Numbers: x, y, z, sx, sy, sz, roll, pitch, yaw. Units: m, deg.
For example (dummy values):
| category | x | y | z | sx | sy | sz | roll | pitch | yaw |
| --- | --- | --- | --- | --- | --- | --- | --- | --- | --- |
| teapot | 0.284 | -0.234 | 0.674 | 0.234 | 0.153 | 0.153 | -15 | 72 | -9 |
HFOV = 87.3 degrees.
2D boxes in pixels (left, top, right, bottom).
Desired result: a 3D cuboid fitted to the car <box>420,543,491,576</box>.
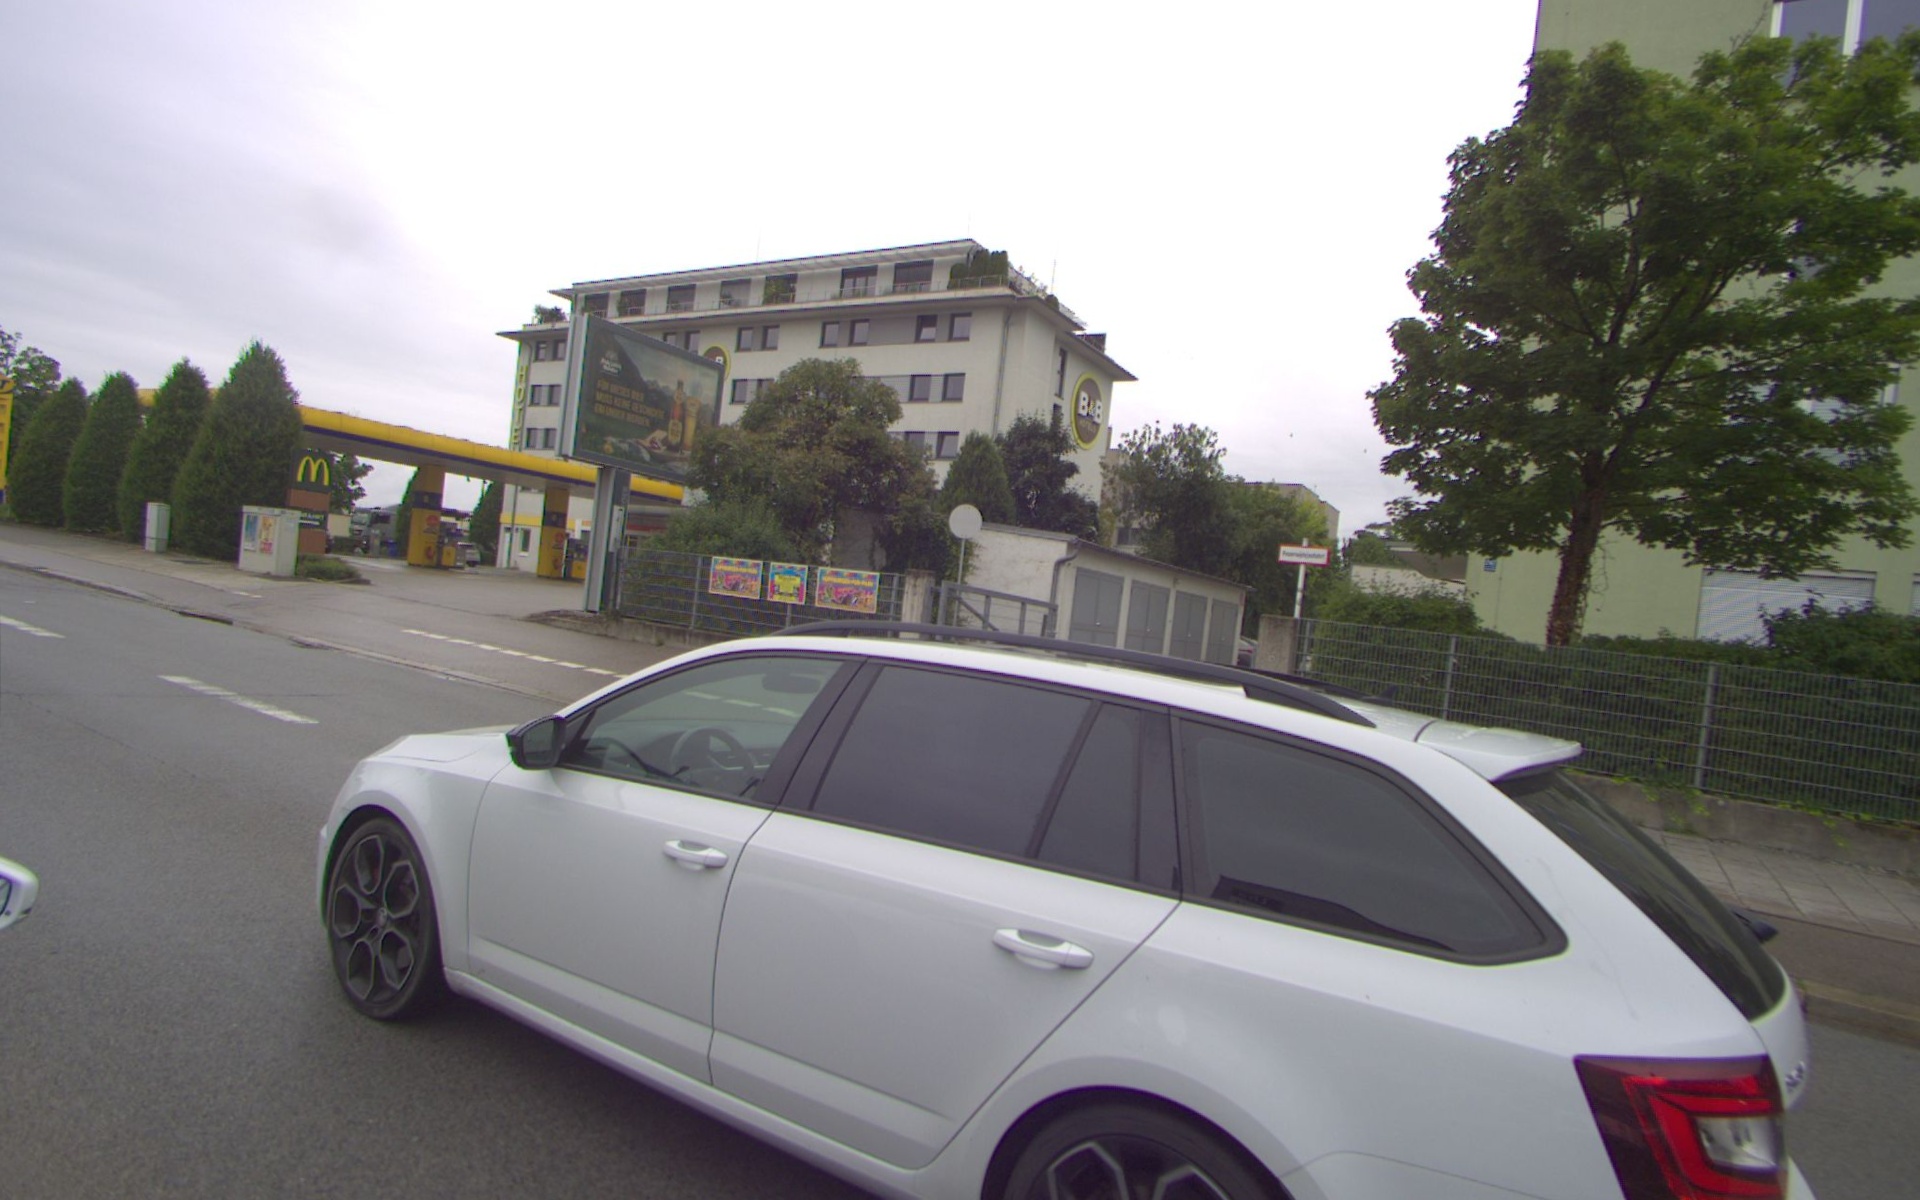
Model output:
| category | x | y | z | sx | sy | sz | roll | pitch | yaw |
| --- | --- | --- | --- | --- | --- | --- | --- | --- | --- |
| car | -30.982 | -2.471 | 61.805 | 4.124 | 1.495 | 1.906 | 7 | -1 | 32 |

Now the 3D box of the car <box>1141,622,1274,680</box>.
| category | x | y | z | sx | sy | sz | roll | pitch | yaw |
| --- | --- | --- | --- | --- | --- | --- | --- | --- | --- |
| car | 8.597 | 1.765 | 34.967 | 4.027 | 1.415 | 1.767 | 7 | -1 | 32 |

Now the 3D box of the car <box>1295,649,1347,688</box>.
| category | x | y | z | sx | sy | sz | roll | pitch | yaw |
| --- | --- | --- | --- | --- | --- | --- | --- | --- | --- |
| car | 17.060 | 3.272 | 47.427 | 1.538 | 1.538 | 3.702 | 7 | -1 | 30 |

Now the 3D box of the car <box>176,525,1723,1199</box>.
| category | x | y | z | sx | sy | sz | roll | pitch | yaw |
| --- | --- | --- | --- | --- | --- | --- | --- | --- | --- |
| car | -0.433 | 0.765 | 3.373 | 4.426 | 1.485 | 1.881 | 7 | -1 | 31 |

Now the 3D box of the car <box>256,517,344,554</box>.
| category | x | y | z | sx | sy | sz | roll | pitch | yaw |
| --- | --- | --- | --- | --- | --- | --- | --- | --- | --- |
| car | -35.031 | -3.428 | 53.397 | 4.283 | 1.400 | 1.704 | 7 | -1 | 22 |

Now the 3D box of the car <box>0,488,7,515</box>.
| category | x | y | z | sx | sy | sz | roll | pitch | yaw |
| --- | --- | --- | --- | --- | --- | --- | --- | --- | --- |
| car | -53.622 | -5.543 | 53.249 | 1.968 | 1.446 | 4.251 | 7 | 0 | 35 |

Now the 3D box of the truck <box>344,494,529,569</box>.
| category | x | y | z | sx | sy | sz | roll | pitch | yaw |
| --- | --- | --- | --- | --- | --- | --- | --- | --- | --- |
| truck | -37.708 | -4.843 | 73.253 | 2.569 | 3.904 | 11.900 | 7 | 0 | 35 |
